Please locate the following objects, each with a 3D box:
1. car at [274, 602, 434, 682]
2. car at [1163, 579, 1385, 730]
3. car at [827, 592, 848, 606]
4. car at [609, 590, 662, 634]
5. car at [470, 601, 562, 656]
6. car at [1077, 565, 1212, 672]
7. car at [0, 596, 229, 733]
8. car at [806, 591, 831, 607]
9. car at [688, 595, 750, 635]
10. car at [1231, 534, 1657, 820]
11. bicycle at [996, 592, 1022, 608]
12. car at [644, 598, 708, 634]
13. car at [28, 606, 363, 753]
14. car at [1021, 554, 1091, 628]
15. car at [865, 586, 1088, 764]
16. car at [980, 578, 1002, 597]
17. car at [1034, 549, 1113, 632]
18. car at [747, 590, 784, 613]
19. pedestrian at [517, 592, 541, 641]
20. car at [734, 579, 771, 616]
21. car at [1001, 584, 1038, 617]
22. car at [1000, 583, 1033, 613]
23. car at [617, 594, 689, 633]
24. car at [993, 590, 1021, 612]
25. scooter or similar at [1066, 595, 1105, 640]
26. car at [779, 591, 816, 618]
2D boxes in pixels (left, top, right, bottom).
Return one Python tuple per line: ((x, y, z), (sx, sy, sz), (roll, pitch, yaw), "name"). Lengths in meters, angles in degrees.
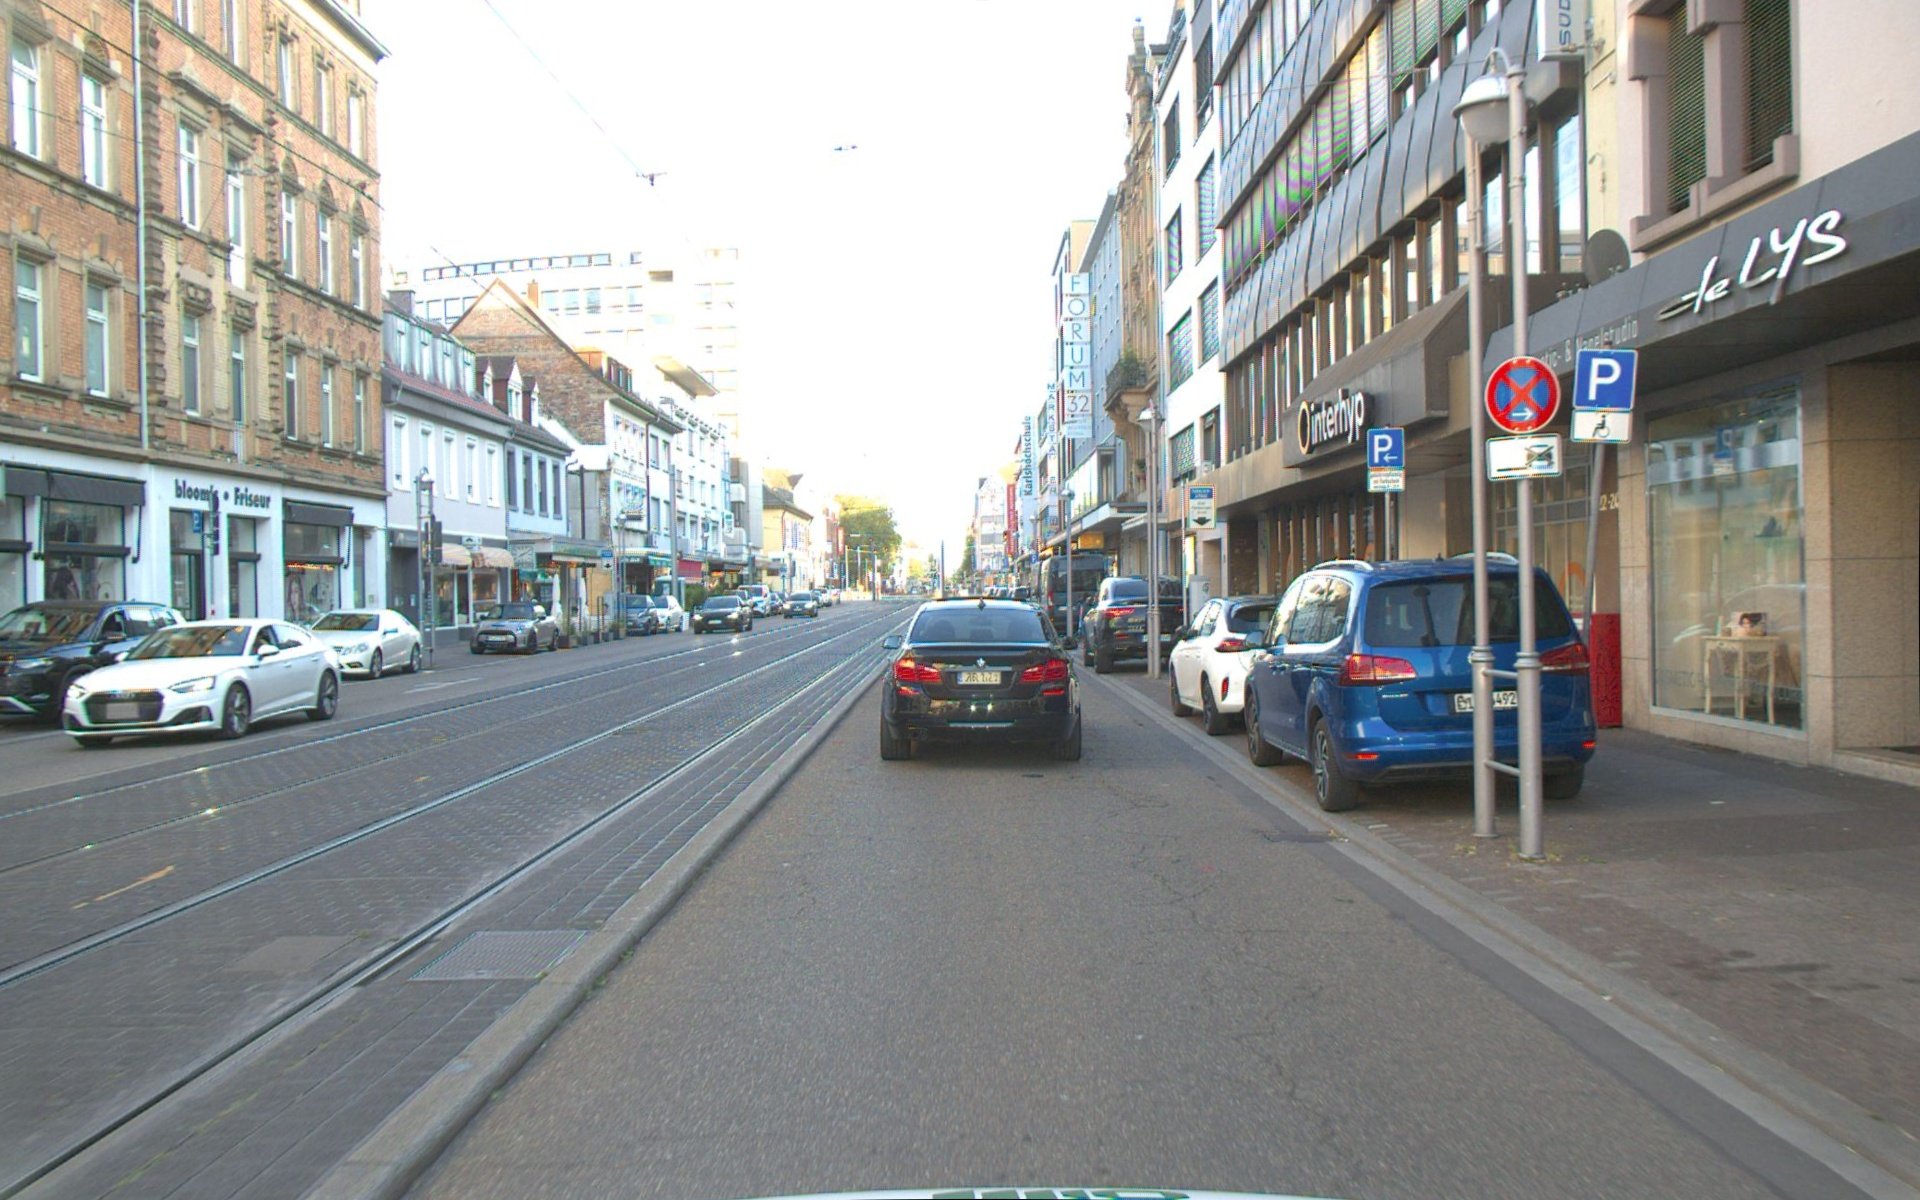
((-12.755, 0.839, 35.128), (1.831, 1.478, 4.608), (2, 0, -3), "car")
((3.483, 0.540, 19.040), (1.759, 1.458, 3.887), (-3, 1, 0), "car")
((-12.913, -0.143, 174.668), (1.889, 1.460, 4.246), (0, 0, 0), "car")
((-12.382, 0.454, 63.212), (1.446, 1.605, 2.795), (-2, 0, 0), "car")
((-12.667, 0.783, 47.373), (1.565, 1.465, 3.813), (0, 0, 1), "car")
((3.366, 0.308, 31.019), (1.953, 1.757, 4.565), (-3, 0, 0), "car")
((-12.421, 0.821, 23.493), (1.890, 1.704, 4.647), (0, 1, 2), "car")
((-12.913, -0.100, 151.487), (1.889, 1.460, 4.246), (0, 0, 0), "car")
((-9.561, 0.567, 65.980), (1.954, 1.478, 4.646), (-1, 0, -3), "car")
((3.529, 0.487, 13.062), (1.953, 1.757, 4.576), (-3, 0, 0), "car")
((3.495, 0.006, 117.844), (1.823, 1.139, 0.468), (-1, -1, 1), "bicycle")
((-12.461, 0.665, 72.852), (1.952, 1.478, 4.330), (-1, 0, 1), "car")
((-9.311, 0.885, 20.656), (1.953, 1.478, 4.656), (-3, 0, 0), "car")
((3.473, -0.342, 60.684), (1.992, 2.498, 5.407), (-3, 0, -2), "car")
((0.191, 0.664, 16.403), (1.913, 1.525, 4.465), (0, -1, 1), "car")
((2.659, -1.034, 142.842), (1.738, 1.576, 3.502), (-1, 0, 0), "car")
((3.652, -0.310, 54.267), (2.050, 2.498, 6.032), (-2, 0, 0), "car")
((-12.809, 0.071, 109.072), (1.889, 1.460, 4.246), (0, 0, 0), "car")
((-14.917, 0.551, 57.239), (0.649, 1.673, 0.694), (-1, 0, 0), "pedestrian")
((-12.830, -0.139, 102.492), (1.954, 2.194, 4.907), (-1, 0, -3), "car")
((2.936, 0.005, 82.713), (1.621, 1.564, 3.885), (-2, 0, 0), "car")
((2.999, -0.125, 88.203), (1.528, 1.467, 3.708), (-3, 0, 0), "car")
((-12.564, 0.518, 67.896), (1.952, 1.478, 4.822), (-1, 0, 1), "car")
((3.434, 0.108, 121.355), (1.864, 1.576, 4.000), (-1, 0, 0), "car")
((3.539, 0.483, 46.594), (0.490, 1.241, 1.260), (-1, 0, 37), "scooter or similar")
((-9.500, 0.237, 96.925), (1.657, 1.478, 4.466), (-1, 0, 1), "car")
